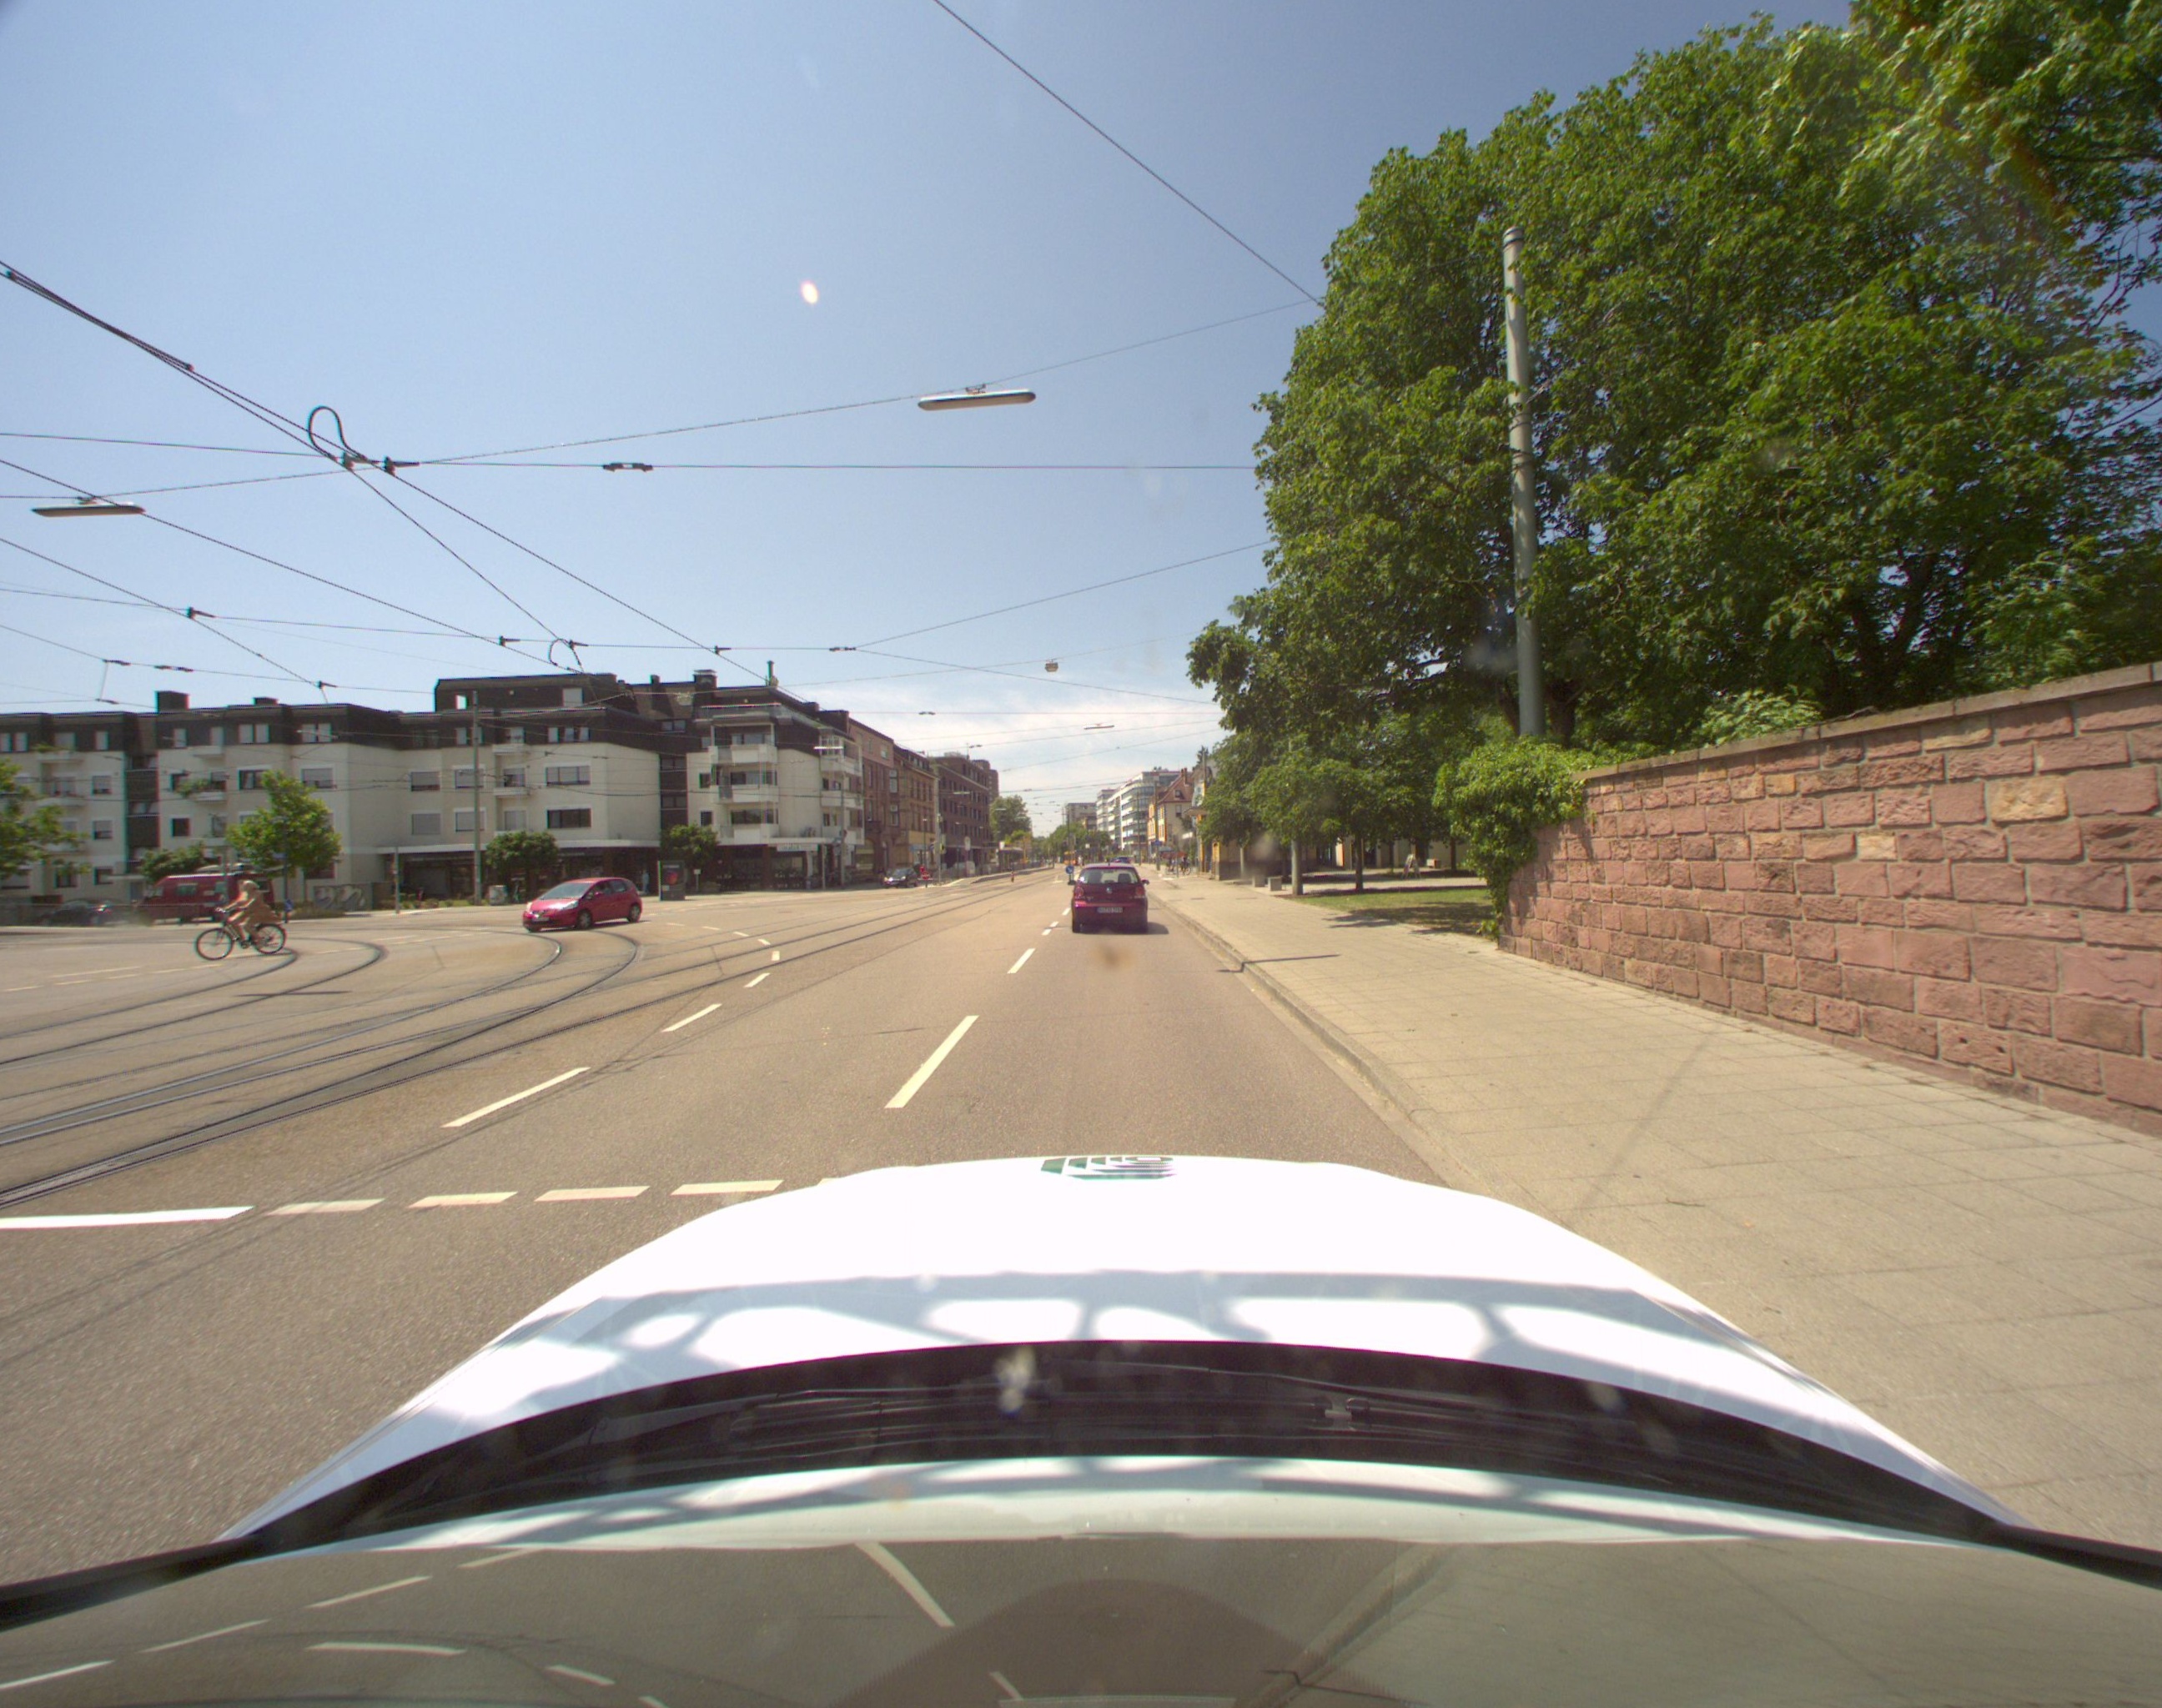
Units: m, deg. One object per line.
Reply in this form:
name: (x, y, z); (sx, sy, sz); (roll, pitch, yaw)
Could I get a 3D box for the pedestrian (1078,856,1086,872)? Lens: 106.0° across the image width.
pedestrian: (0.087, 1.053, 87.192); (0.760, 1.674, 1.101); (-2, -1, 3)

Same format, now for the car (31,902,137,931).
car: (-50.660, 3.176, 41.421); (3.554, 1.219, 1.592); (-2, 0, 3)

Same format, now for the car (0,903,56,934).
car: (-55.476, 3.336, 41.886); (3.554, 1.433, 1.592); (-2, 0, 3)

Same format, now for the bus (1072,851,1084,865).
bus: (-0.612, 0.808, 178.559); (2.137, 3.003, 6.576); (-2, 0, 2)

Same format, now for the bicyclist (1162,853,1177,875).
bicyclist: (7.145, 0.789, 65.713); (0.720, 1.760, 0.930); (-2, 0, 33)

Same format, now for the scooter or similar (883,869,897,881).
scooter or similar: (-18.607, 2.023, 79.368); (0.484, 1.082, 1.585); (-2, 0, 19)

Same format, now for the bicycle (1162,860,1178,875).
bicycle: (7.207, 1.075, 65.755); (0.372, 1.197, 1.917); (-2, 0, 33)

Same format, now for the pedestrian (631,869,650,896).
pedestrian: (-28.987, 1.865, 53.631); (0.695, 1.696, 0.809); (-2, -1, 7)

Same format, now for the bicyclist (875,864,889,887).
bicyclist: (-15.525, 1.672, 63.532); (0.729, 1.762, 1.135); (-2, 0, 2)

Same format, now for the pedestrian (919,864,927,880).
pedestrian: (-16.512, 1.873, 85.172); (0.612, 1.560, 0.640); (-2, 0, 2)

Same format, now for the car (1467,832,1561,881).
car: (19.295, 0.133, 36.356); (3.318, 2.014, 1.465); (-2, -2, 2)

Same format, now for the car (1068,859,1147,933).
car: (0.604, 0.859, 18.108); (1.555, 1.453, 3.063); (-2, -1, 2)

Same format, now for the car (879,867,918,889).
car: (-13.320, 1.726, 59.757); (1.702, 1.438, 3.869); (-2, 0, 4)

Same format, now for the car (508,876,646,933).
car: (-15.539, 1.509, 25.352); (1.616, 1.484, 3.834); (-2, 0, 5)

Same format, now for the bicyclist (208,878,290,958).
bicyclist: (-19.633, 1.491, 19.250); (0.692, 1.765, 1.138); (-2, 0, 2)

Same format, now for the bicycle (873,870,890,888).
bicycle: (-15.526, 1.911, 63.357); (0.674, 1.304, 2.106); (-2, 0, 2)

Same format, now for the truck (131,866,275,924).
truck: (-44.820, 2.052, 41.658); (5.006, 2.698, 2.189); (-2, -1, 2)

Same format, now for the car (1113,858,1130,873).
car: (4.911, 1.354, 98.412); (1.985, 1.624, 4.636); (-2, 0, 3)

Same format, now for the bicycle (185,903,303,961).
bicycle: (-19.631, 1.798, 19.172); (0.692, 1.149, 1.932); (-2, 0, 2)

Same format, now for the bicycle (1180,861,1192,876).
bicycle: (7.938, 1.065, 61.593); (0.665, 1.002, 1.865); (-5, 1, 3)

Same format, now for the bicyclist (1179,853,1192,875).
bicyclist: (7.917, 0.747, 61.723); (0.829, 1.618, 0.860); (-5, 1, 3)
